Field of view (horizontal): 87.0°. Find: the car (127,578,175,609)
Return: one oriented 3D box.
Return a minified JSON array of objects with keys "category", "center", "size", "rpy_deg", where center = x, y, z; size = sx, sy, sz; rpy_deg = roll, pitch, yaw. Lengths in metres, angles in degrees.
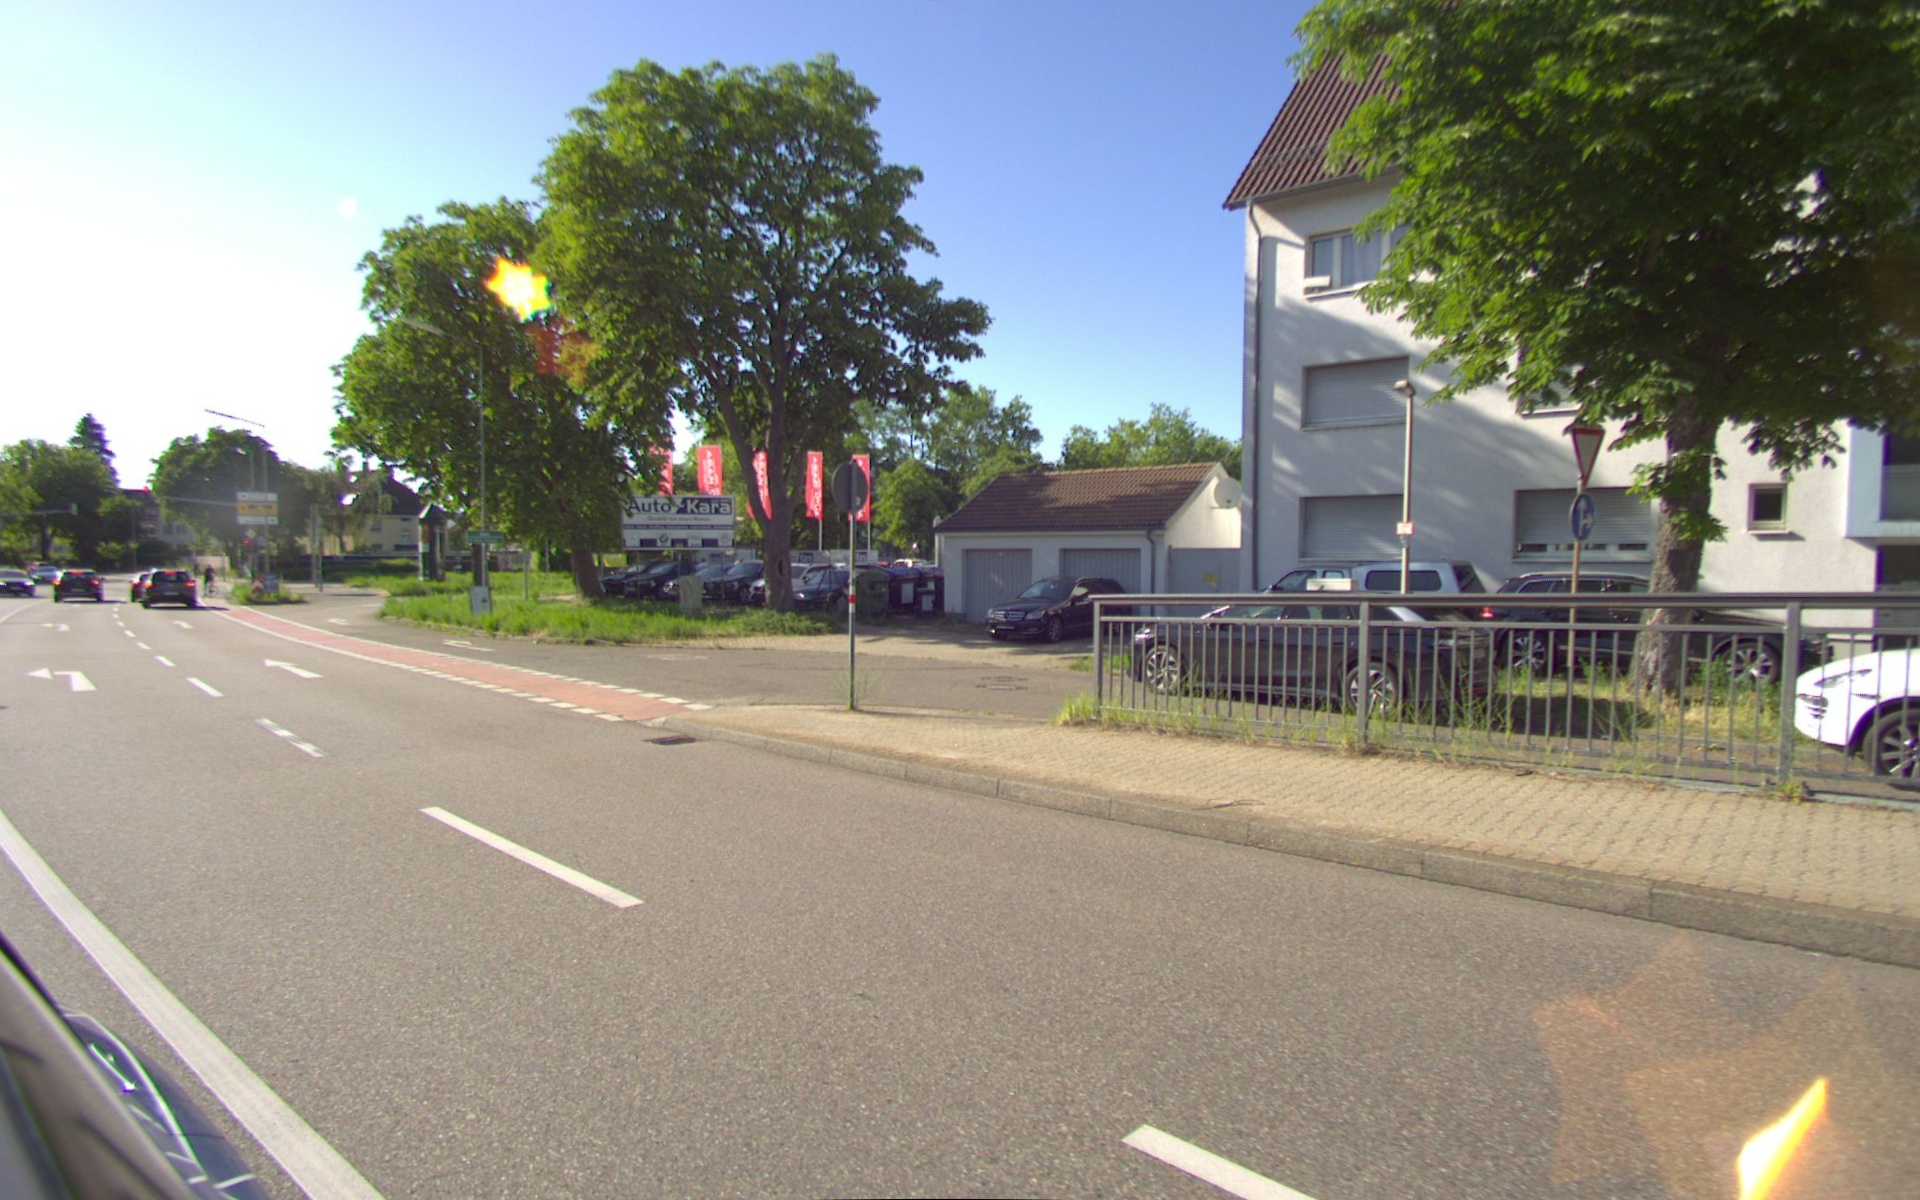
[{"category":"car","center":[-39.844,-0.348,49.823],"size":[1.762,1.425,3.898],"rpy_deg":[-2,3,-39]}]

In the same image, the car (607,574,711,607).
[{"category":"car","center":[-12.466,-0.436,42.115],"size":[2.034,1.249,3.898],"rpy_deg":[0,2,27]}]

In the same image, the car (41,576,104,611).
[{"category":"car","center":[-42.580,-0.321,48.544],"size":[4.001,1.611,1.892],"rpy_deg":[1,1,43]}]

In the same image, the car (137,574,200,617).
[{"category":"car","center":[-34.262,-0.215,43.761],"size":[1.830,1.748,4.276],"rpy_deg":[-2,2,-42]}]

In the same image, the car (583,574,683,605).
[{"category":"car","center":[-14.275,-0.491,44.345],"size":[2.034,1.249,3.898],"rpy_deg":[0,2,27]}]

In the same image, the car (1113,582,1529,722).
[{"category":"car","center":[4.727,0.541,13.792],"size":[4.961,1.475,2.016],"rpy_deg":[2,3,42]}]

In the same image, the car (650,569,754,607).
[{"category":"car","center":[-10.243,-0.510,40.452],"size":[1.938,1.423,3.843],"rpy_deg":[0,2,29]}]

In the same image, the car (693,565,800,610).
[{"category":"car","center":[-8.068,-0.519,38.580],"size":[1.990,1.571,3.964],"rpy_deg":[1,3,27]}]

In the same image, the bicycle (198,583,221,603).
[{"category":"bicycle","center":[-40.843,-0.388,55.077],"size":[0.925,1.024,2.201],"rpy_deg":[-2,3,-38]}]

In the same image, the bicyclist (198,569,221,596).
[{"category":"bicyclist","center":[-40.762,-0.967,54.955],"size":[0.921,1.412,0.824],"rpy_deg":[-2,2,-38]}]

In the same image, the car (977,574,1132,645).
[{"category":"car","center":[2.343,0.156,24.281],"size":[1.905,1.439,3.950],"rpy_deg":[3,4,38]}]

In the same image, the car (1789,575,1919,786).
[{"category":"car","center":[10.139,0.714,8.174],"size":[5.236,1.741,2.016],"rpy_deg":[2,4,42]}]

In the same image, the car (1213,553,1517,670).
[{"category":"car","center":[7.540,0.103,19.287],"size":[5.103,1.944,1.728],"rpy_deg":[2,3,43]}]

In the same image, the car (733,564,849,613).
[{"category":"car","center":[-6.016,-0.466,36.454],"size":[1.917,1.622,3.954],"rpy_deg":[0,3,34]}]

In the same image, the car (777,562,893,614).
[{"category":"car","center":[-4.078,-0.453,33.791],"size":[1.804,1.587,4.372],"rpy_deg":[0,2,25]}]

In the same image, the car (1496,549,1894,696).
[{"category":"car","center":[11.285,0.205,15.822],"size":[4.787,1.944,2.047],"rpy_deg":[2,3,42]}]
